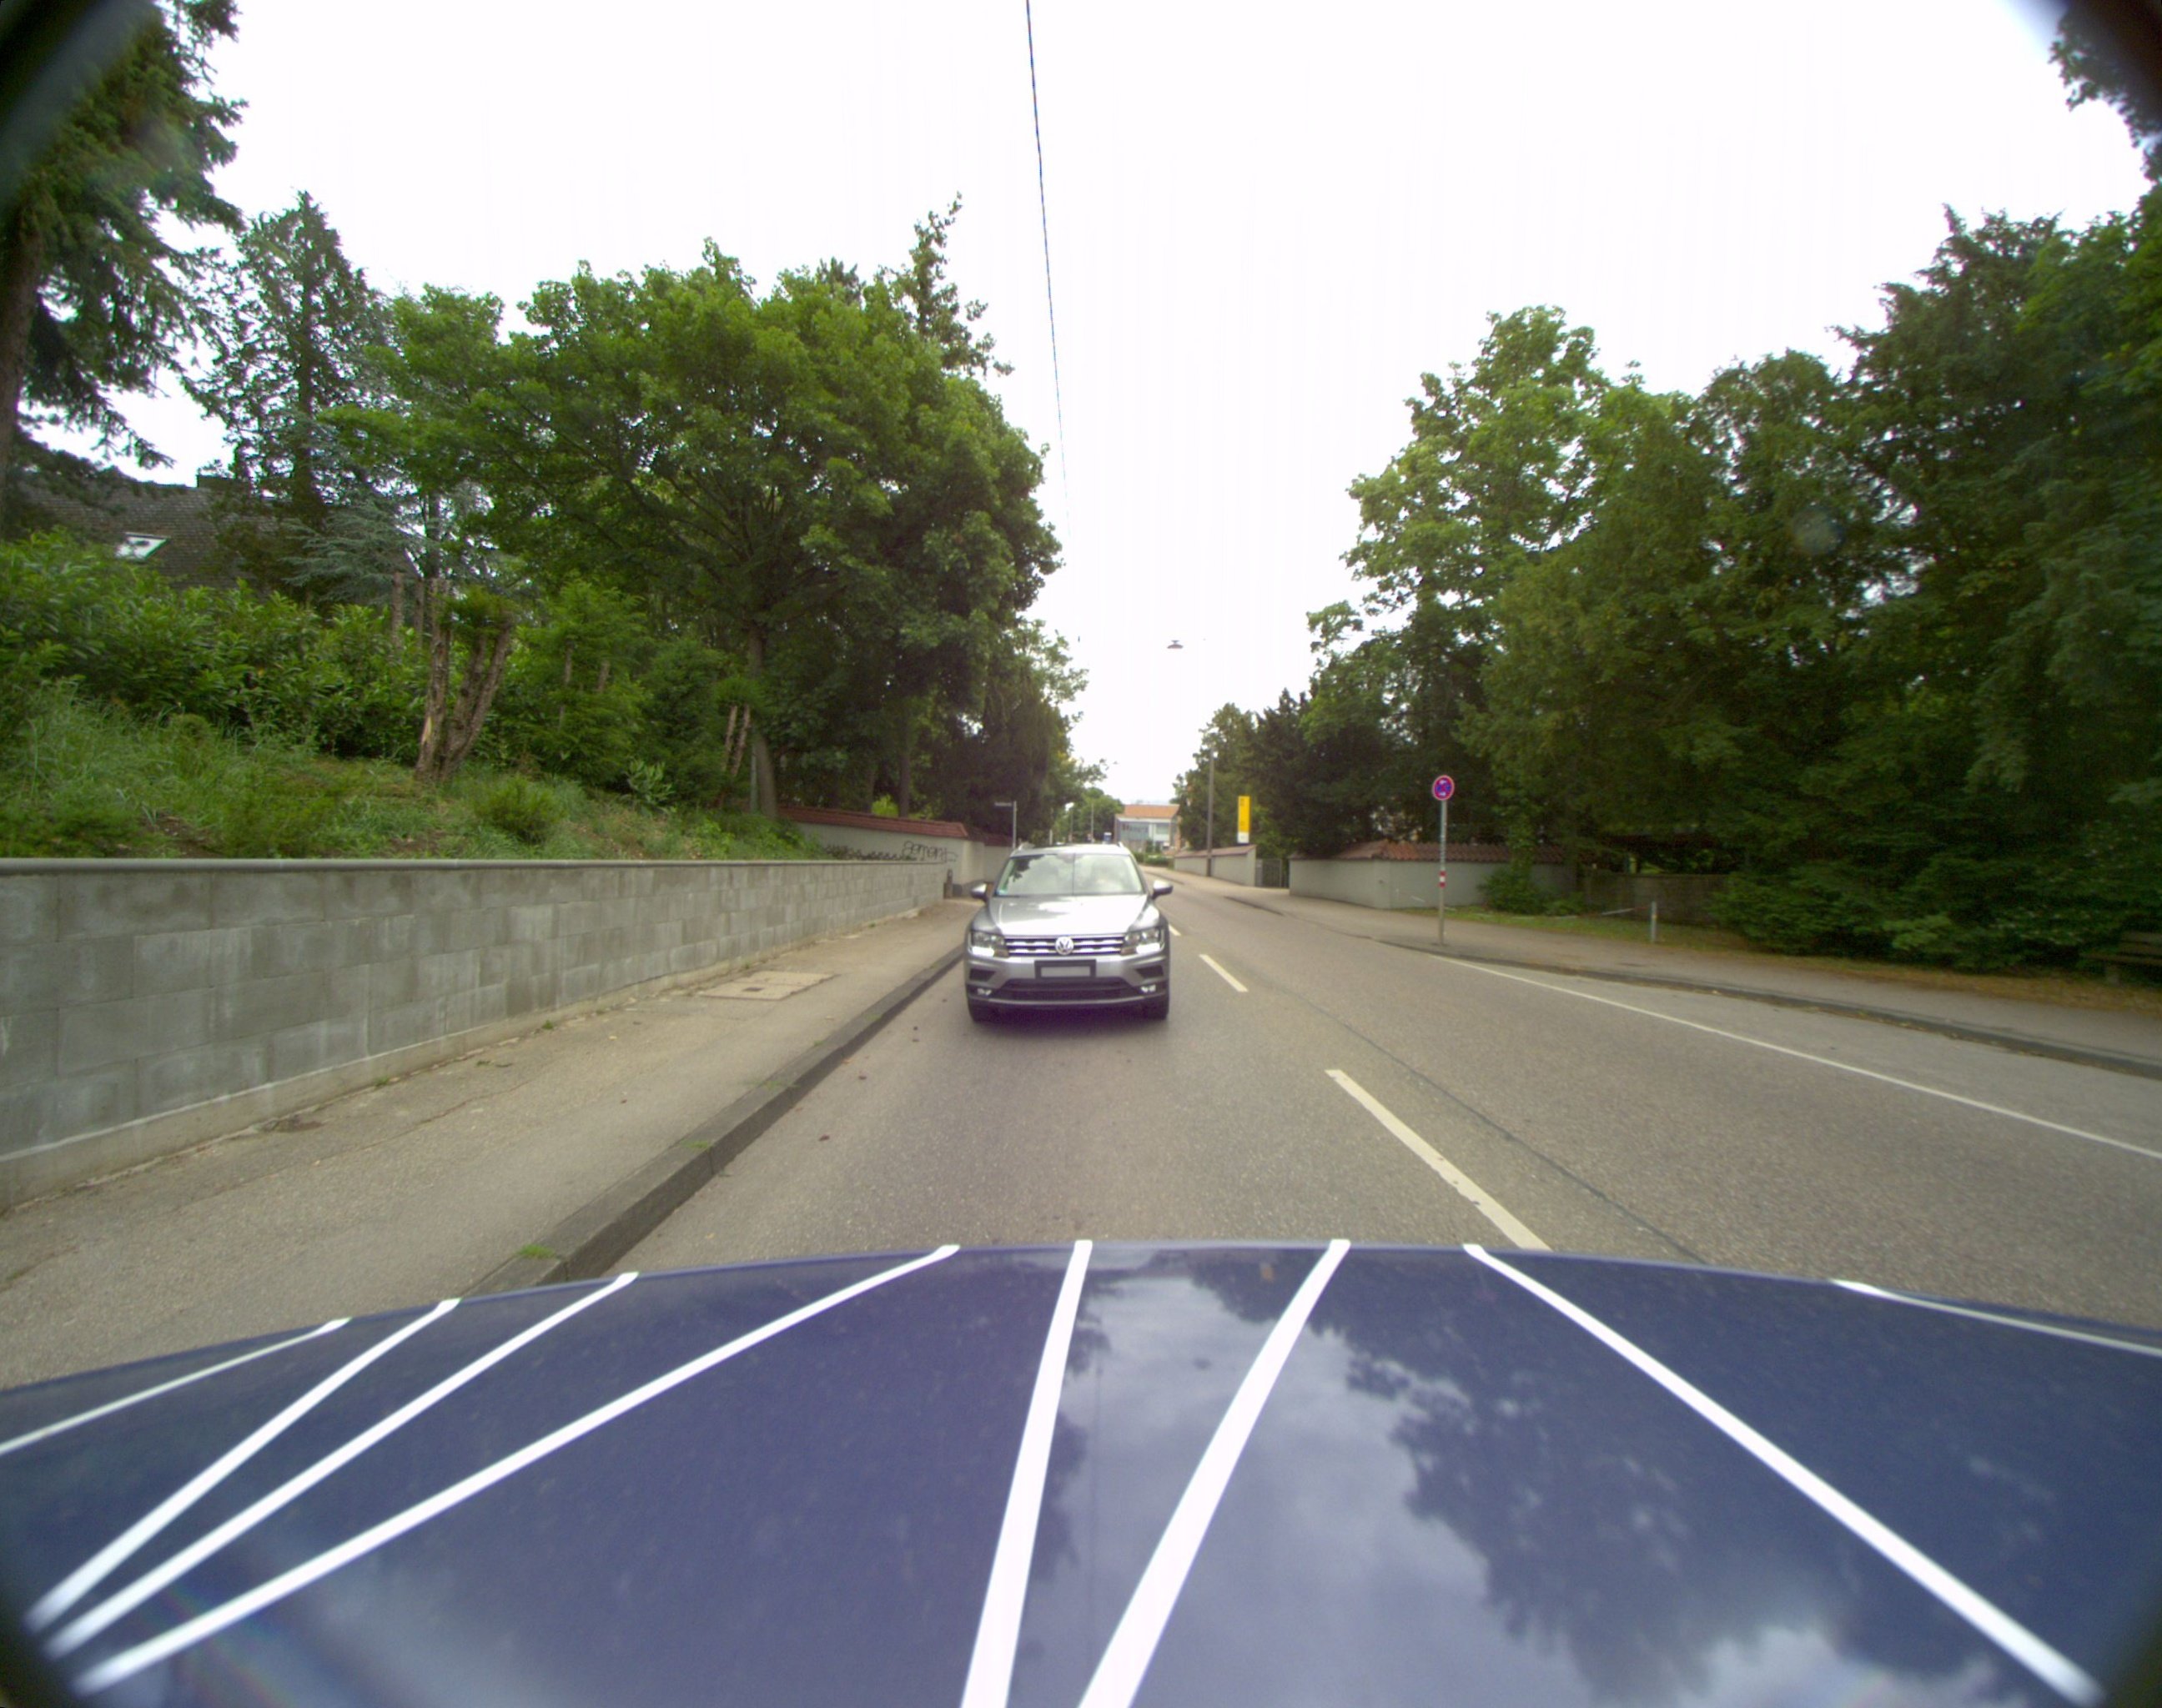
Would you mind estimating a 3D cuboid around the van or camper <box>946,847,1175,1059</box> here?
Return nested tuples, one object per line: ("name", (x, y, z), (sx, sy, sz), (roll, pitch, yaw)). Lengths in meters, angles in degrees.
("van or camper", (-0.135, 0.773, 8.111), (1.800, 1.663, 4.198), (0, 0, 1))
